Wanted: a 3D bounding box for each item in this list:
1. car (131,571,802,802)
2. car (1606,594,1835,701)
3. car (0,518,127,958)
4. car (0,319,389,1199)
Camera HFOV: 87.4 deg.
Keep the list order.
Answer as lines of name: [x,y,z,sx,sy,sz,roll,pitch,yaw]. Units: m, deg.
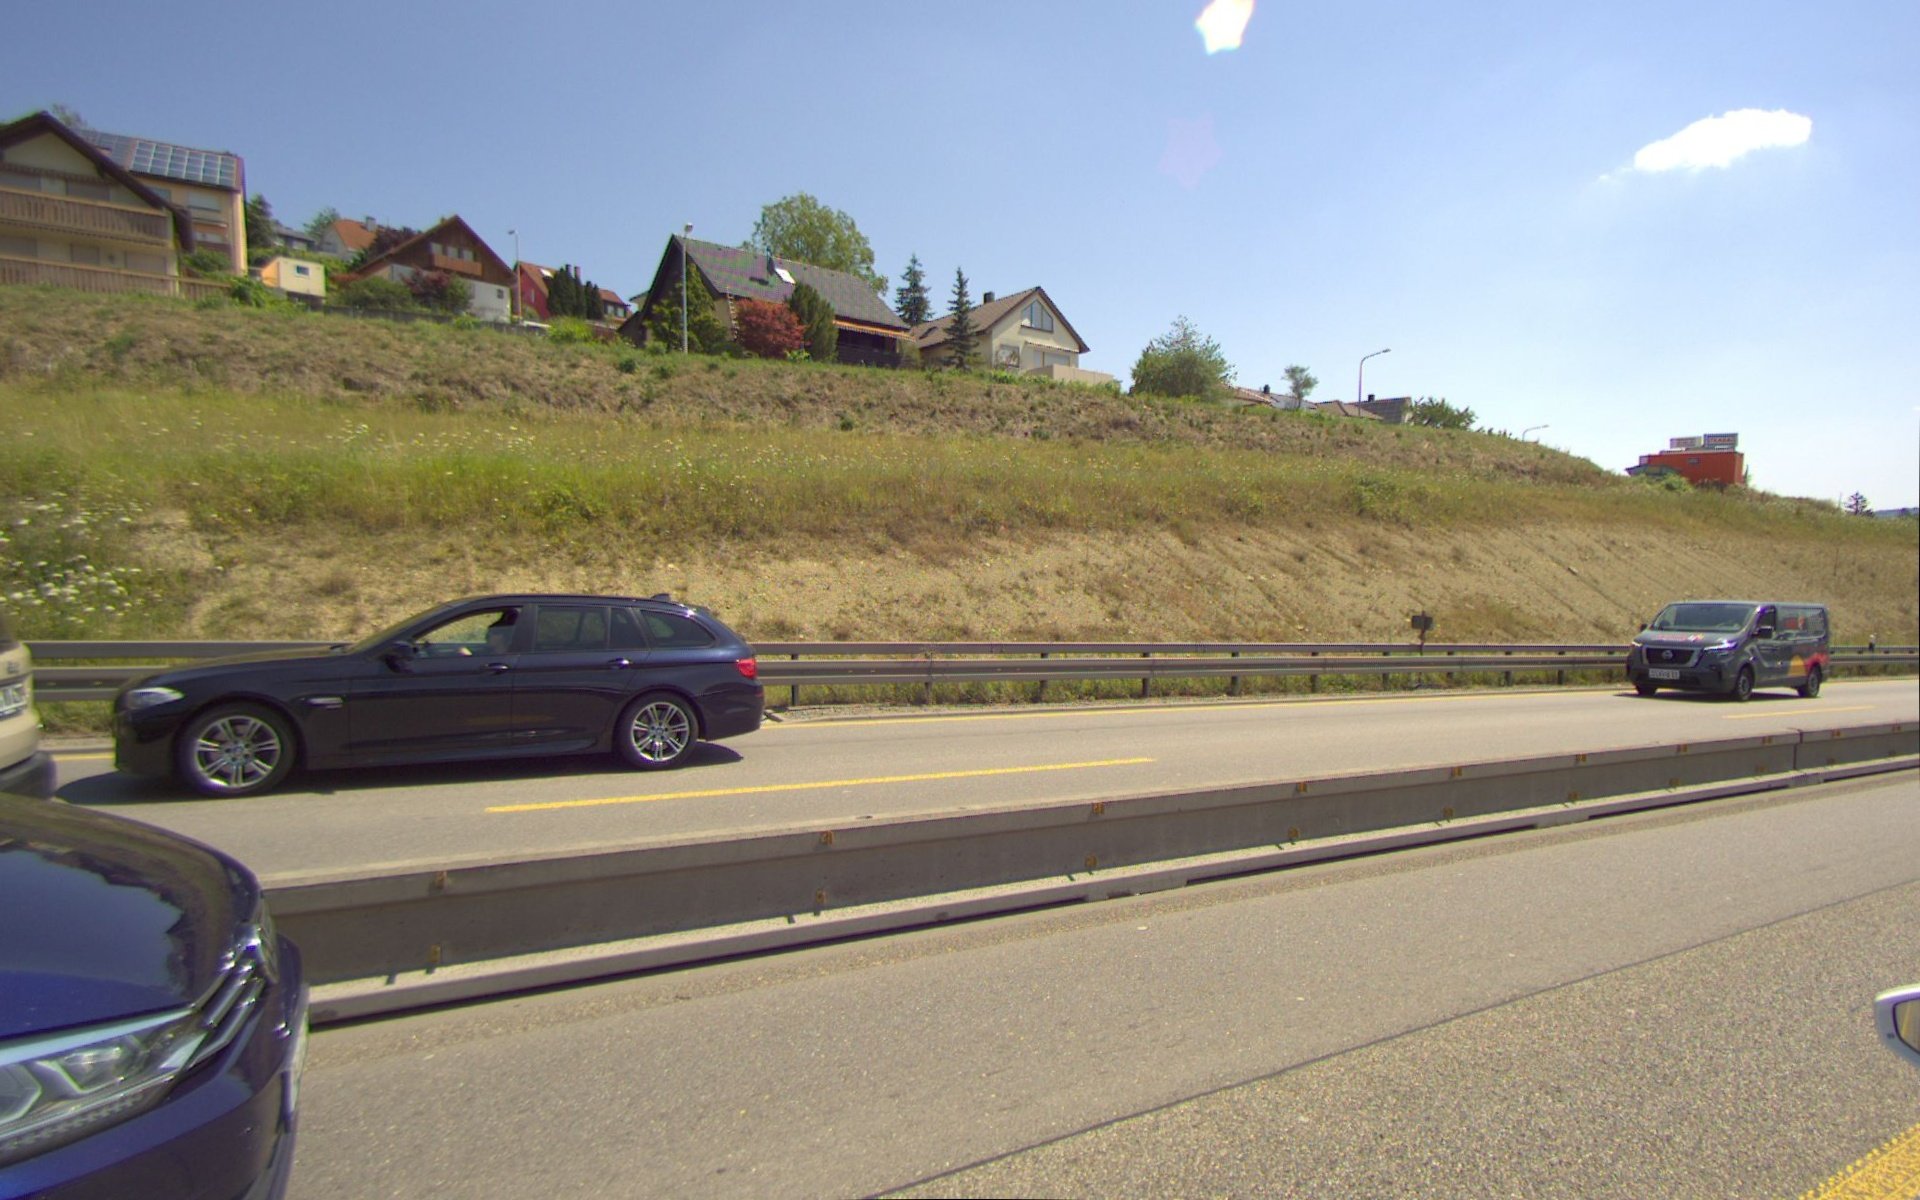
car: [-3.932,0.615,8.677,4.664,1.527,1.984,2,0,-30]
car: [15.659,0.930,20.616,5.062,1.952,2.028,1,-1,-31]
car: [-5.980,0.469,3.554,4.363,1.688,1.823,2,-1,-30]
car: [-3.277,0.496,1.091,4.597,1.741,1.767,0,1,-30]
